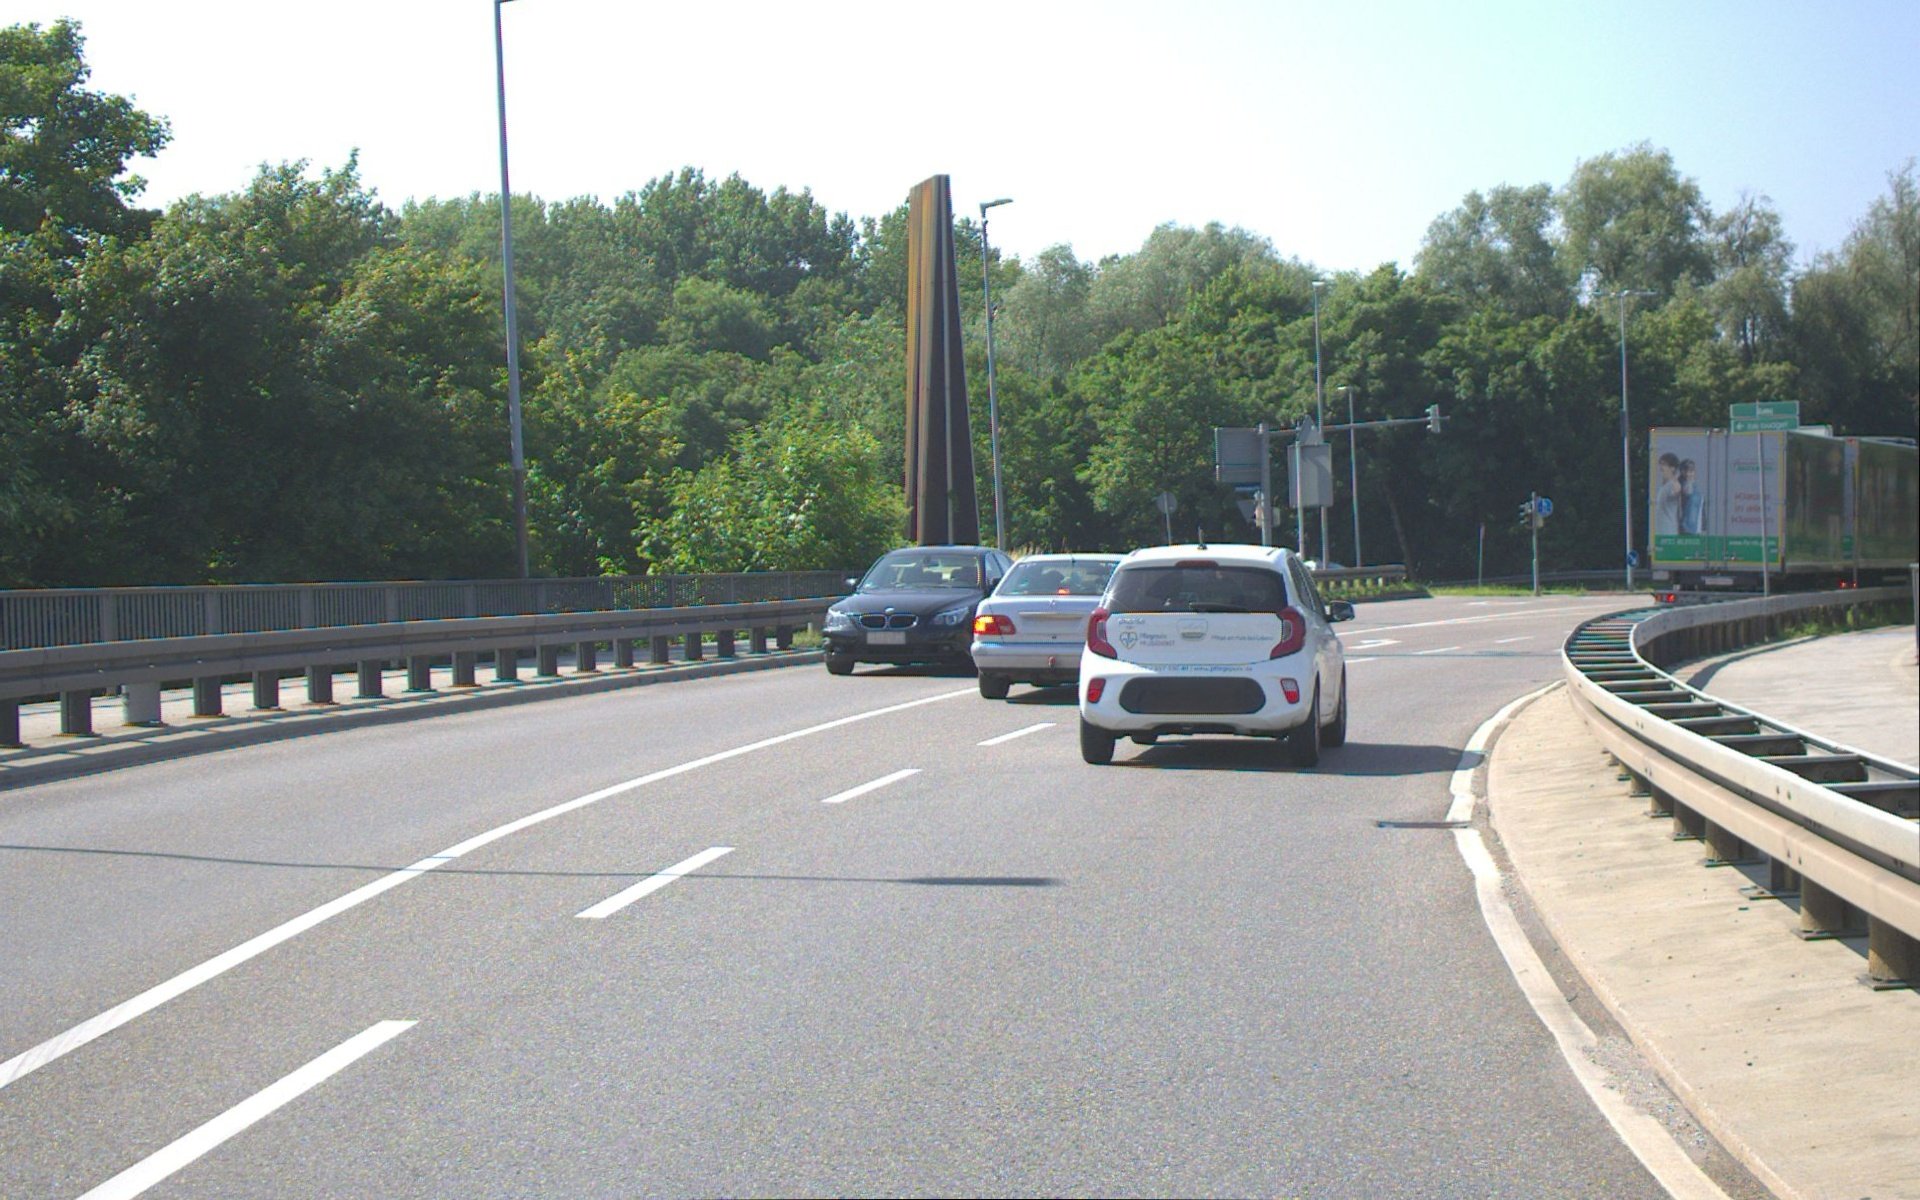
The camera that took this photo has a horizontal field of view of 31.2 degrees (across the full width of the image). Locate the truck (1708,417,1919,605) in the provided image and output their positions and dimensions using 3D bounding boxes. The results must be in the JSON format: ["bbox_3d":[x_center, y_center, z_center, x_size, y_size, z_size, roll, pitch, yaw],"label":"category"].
[{"bbox_3d":[18.680,-1.895,73.983,3.264,3.745,8.360,2,2,24],"label":"truck"}]

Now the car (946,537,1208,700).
[{"bbox_3d":[1.243,0.124,34.023,1.940,1.481,4.898,0,1,10],"label":"car"}]

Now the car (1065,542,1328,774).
[{"bbox_3d":[1.764,0.355,24.586,1.702,1.489,3.999,1,1,6],"label":"car"}]

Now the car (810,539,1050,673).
[{"bbox_3d":[-0.287,0.028,40.452,1.857,1.437,4.513,0,2,13],"label":"car"}]

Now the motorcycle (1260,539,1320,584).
[{"bbox_3d":[11.378,-1.334,118.498,0.897,1.524,1.982,0,0,-42],"label":"motorcycle"}]

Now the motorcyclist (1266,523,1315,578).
[{"bbox_3d":[11.399,-1.686,118.505,0.890,1.864,1.463,0,0,-42],"label":"motorcyclist"}]

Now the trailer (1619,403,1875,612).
[{"bbox_3d":[15.363,-1.780,66.680,3.228,3.745,7.814,2,2,24],"label":"trailer"}]
